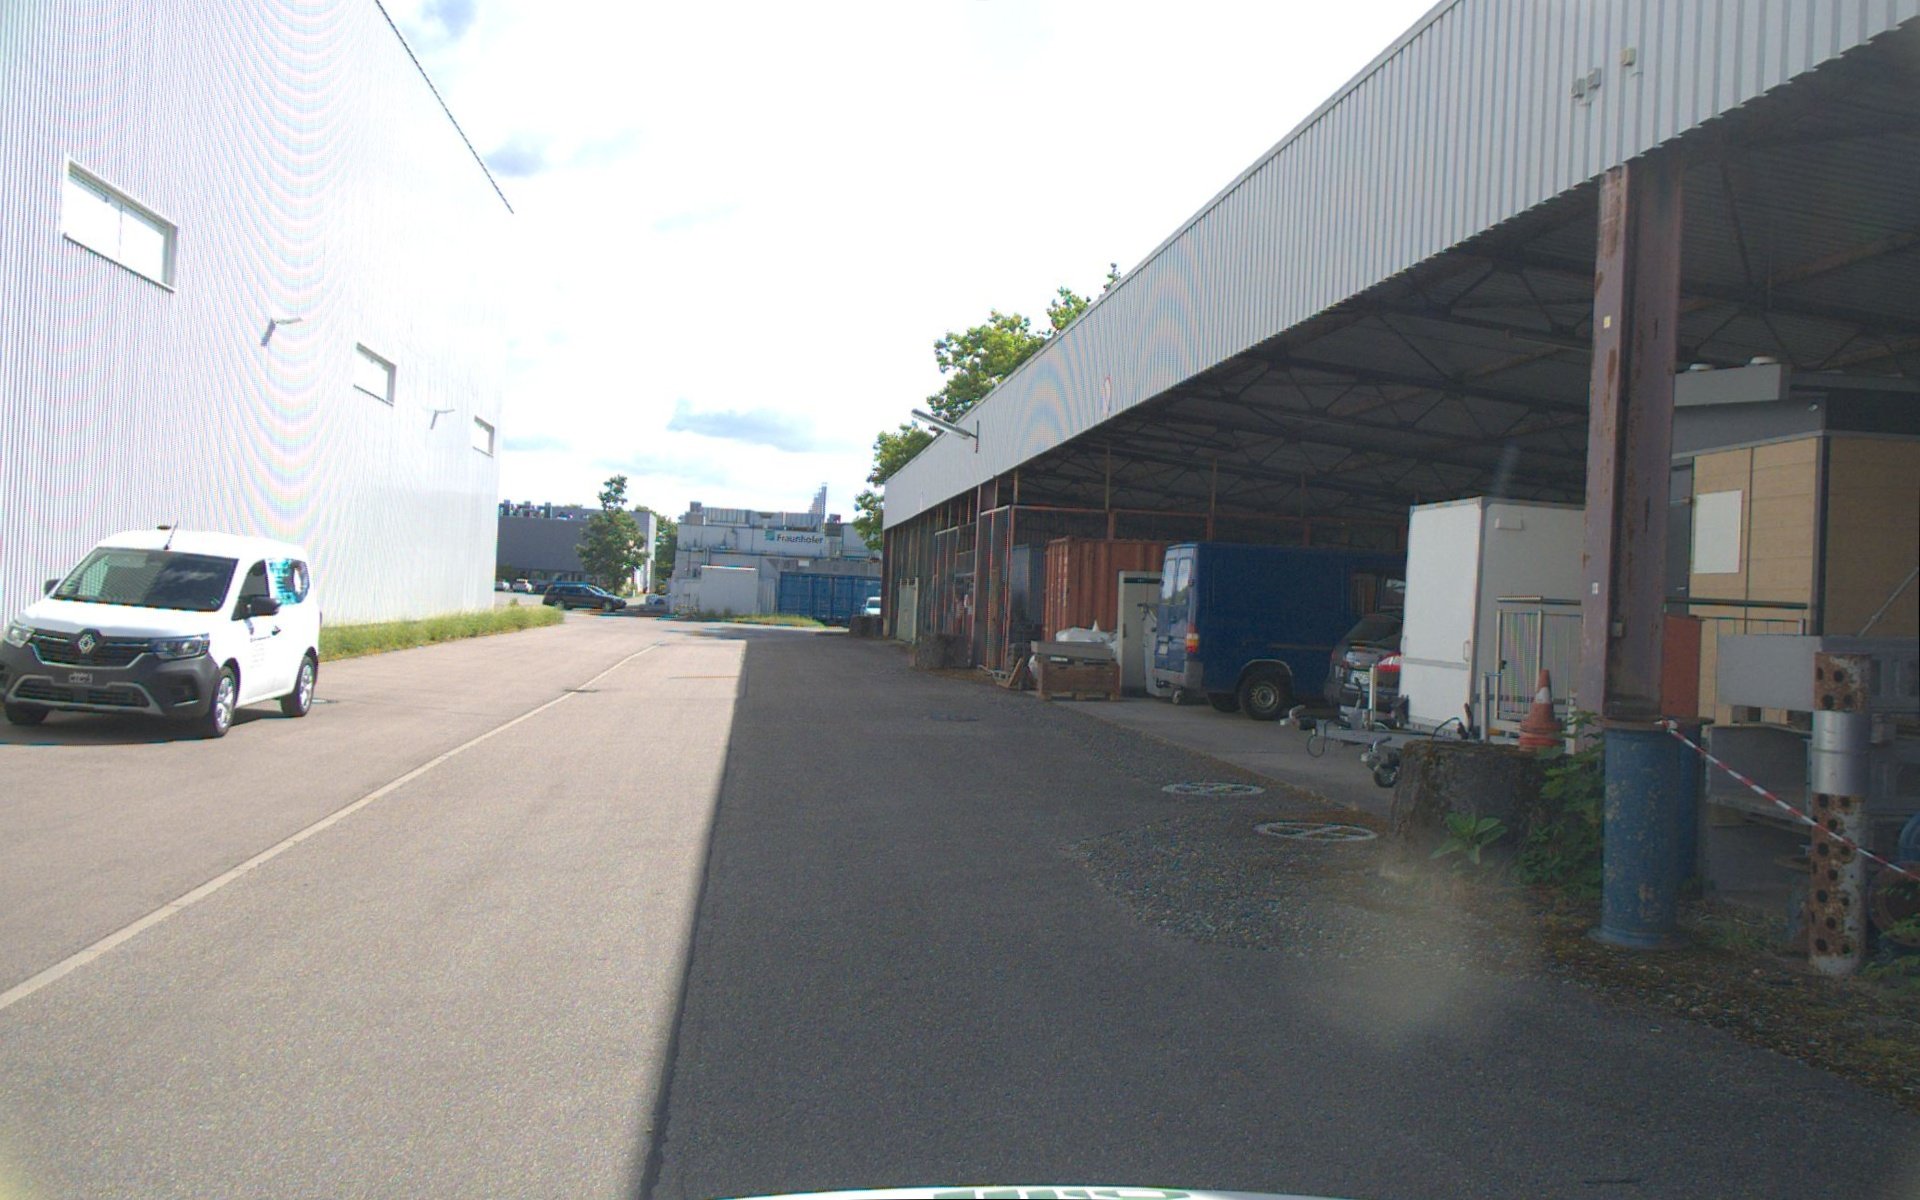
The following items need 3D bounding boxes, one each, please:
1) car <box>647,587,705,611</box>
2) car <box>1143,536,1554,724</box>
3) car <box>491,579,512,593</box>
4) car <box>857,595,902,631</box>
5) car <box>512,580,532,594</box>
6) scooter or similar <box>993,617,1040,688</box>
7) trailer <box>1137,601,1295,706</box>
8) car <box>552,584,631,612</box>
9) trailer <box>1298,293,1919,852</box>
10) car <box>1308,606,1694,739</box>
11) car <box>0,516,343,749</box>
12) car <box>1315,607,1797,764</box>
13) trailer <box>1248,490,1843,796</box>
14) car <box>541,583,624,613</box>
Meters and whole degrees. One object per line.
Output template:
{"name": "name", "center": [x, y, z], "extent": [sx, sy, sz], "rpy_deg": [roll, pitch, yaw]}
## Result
{"name": "car", "center": [-21.415, -0.051, 124.851], "extent": [4.198, 1.596, 1.984], "rpy_deg": [3, -2, -8]}
{"name": "car", "center": [5.325, 0.421, 23.003], "extent": [5.119, 2.337, 2.080], "rpy_deg": [2, -1, -9]}
{"name": "car", "center": [-52.649, -1.572, 190.074], "extent": [1.843, 1.564, 4.026], "rpy_deg": [1, 0, -10]}
{"name": "car", "center": [-4.241, 0.650, 86.596], "extent": [1.944, 1.621, 4.333], "rpy_deg": [3, 1, -8]}
{"name": "car", "center": [-50.415, -1.532, 190.612], "extent": [1.843, 1.564, 4.026], "rpy_deg": [1, 0, -10]}
{"name": "scooter or similar", "center": [0.961, 0.884, 28.217], "extent": [0.510, 1.154, 1.589], "rpy_deg": [2, -1, -8]}
{"name": "trailer", "center": [3.895, 0.807, 25.426], "extent": [2.053, 1.488, 1.640], "rpy_deg": [2, -1, -5]}
{"name": "car", "center": [-22.239, -0.115, 100.048], "extent": [4.444, 1.468, 1.900], "rpy_deg": [3, -2, -8]}
{"name": "trailer", "center": [7.754, -0.083, 11.874], "extent": [10.097, 3.353, 2.671], "rpy_deg": [1, 0, -7]}
{"name": "car", "center": [6.452, 0.851, 19.934], "extent": [4.030, 1.479, 1.847], "rpy_deg": [1, 0, -8]}
{"name": "car", "center": [-7.565, 0.253, 15.973], "extent": [1.892, 1.821, 4.590], "rpy_deg": [4, 0, -7]}
{"name": "car", "center": [5.980, 0.840, 16.786], "extent": [4.266, 1.458, 1.860], "rpy_deg": [1, 0, -11]}
{"name": "trailer", "center": [4.861, 0.364, 14.012], "extent": [4.455, 2.376, 1.686], "rpy_deg": [1, 0, -7]}
{"name": "car", "center": [-22.054, -0.113, 96.789], "extent": [4.444, 1.468, 1.984], "rpy_deg": [3, -2, -8]}
